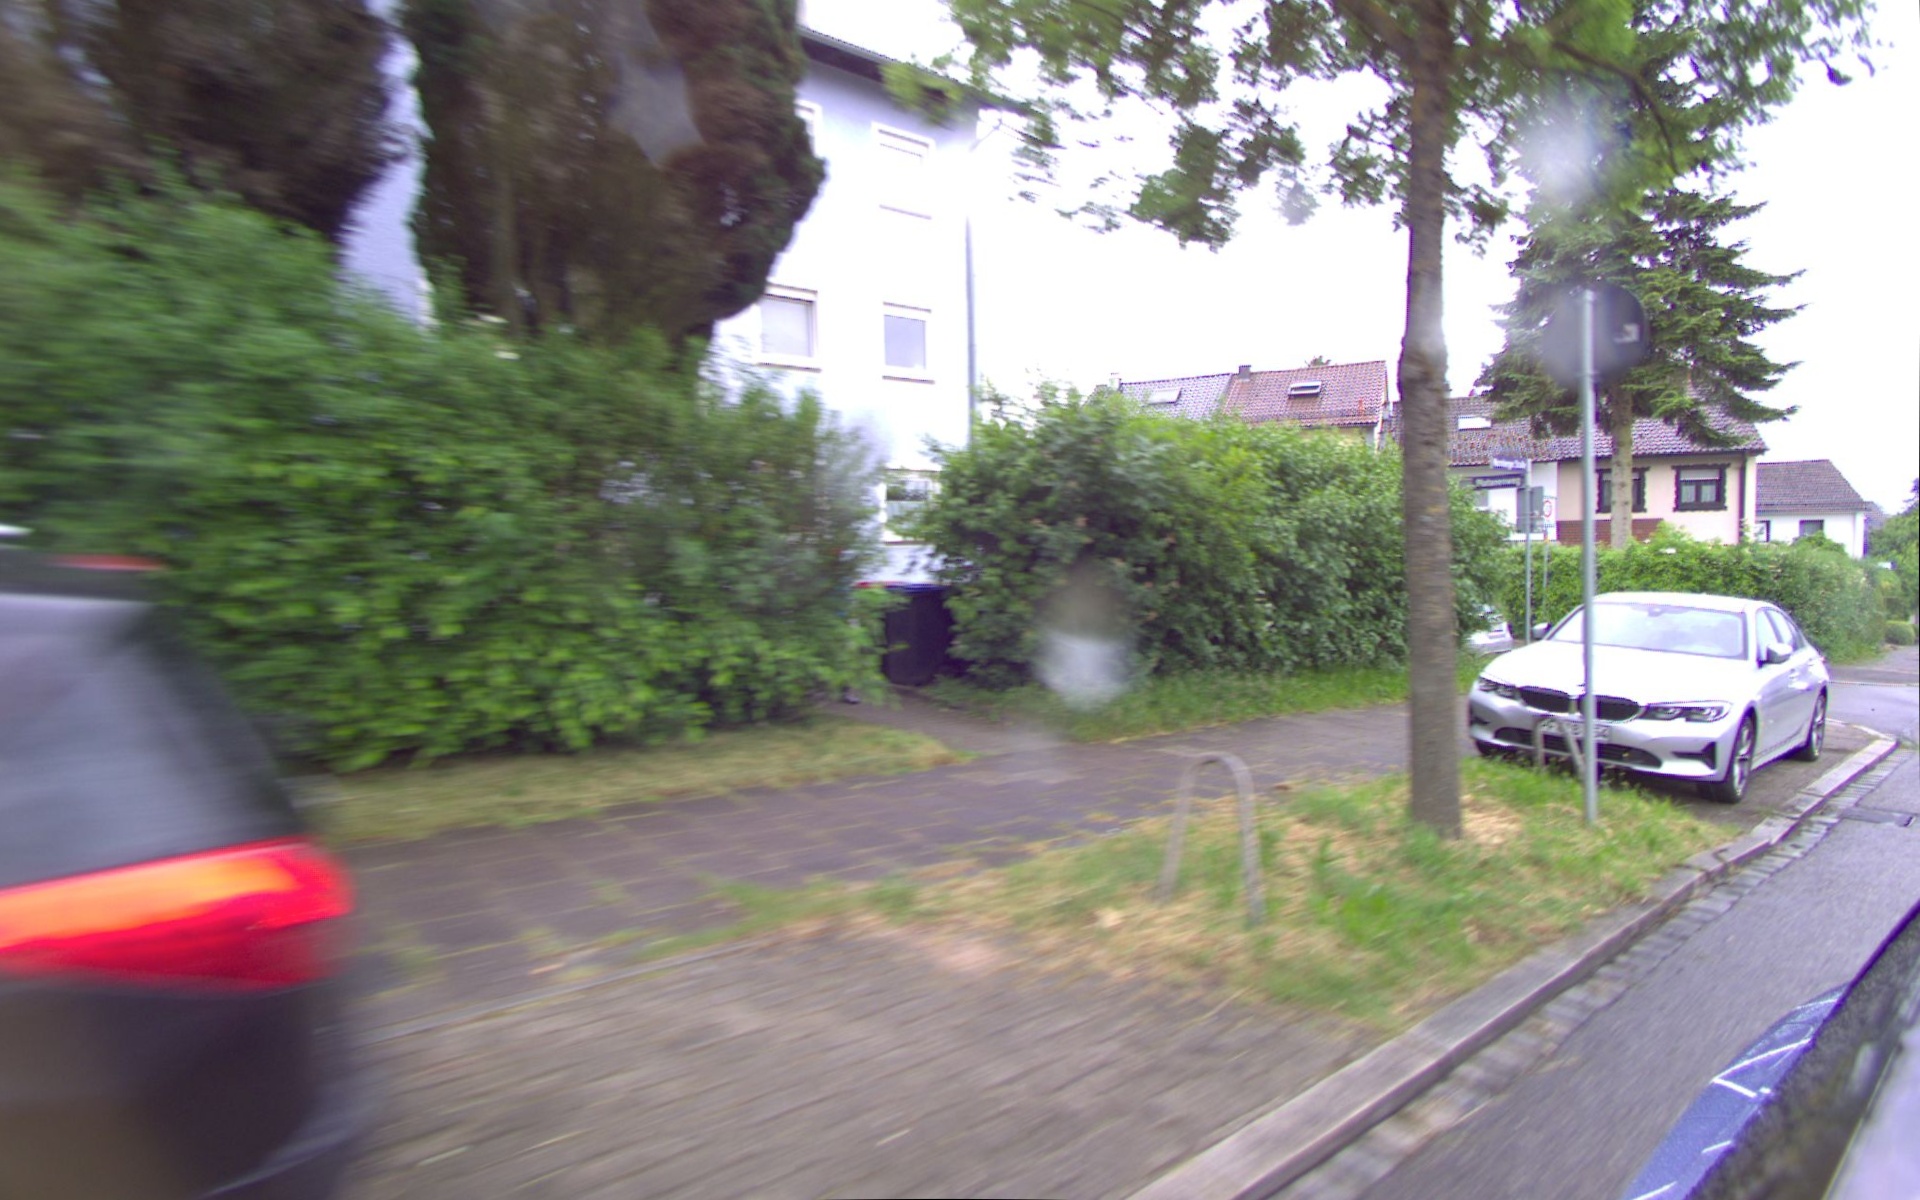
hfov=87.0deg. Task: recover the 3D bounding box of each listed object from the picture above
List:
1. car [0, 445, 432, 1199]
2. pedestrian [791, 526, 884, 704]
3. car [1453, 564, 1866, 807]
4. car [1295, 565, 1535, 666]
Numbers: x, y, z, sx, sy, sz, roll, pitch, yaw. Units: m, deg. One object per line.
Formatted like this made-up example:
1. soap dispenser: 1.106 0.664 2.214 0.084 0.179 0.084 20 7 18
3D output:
1. car: -2.885 0.538 0.954 3.944 1.614 1.645 0 5 -42
2. pedestrian: -1.233 0.126 10.119 0.641 1.700 0.710 0 3 -33
3. car: 6.224 0.534 8.787 4.510 1.540 1.803 0 3 -41
4. car: 8.622 0.205 19.429 1.696 1.530 3.786 -1 6 -38
